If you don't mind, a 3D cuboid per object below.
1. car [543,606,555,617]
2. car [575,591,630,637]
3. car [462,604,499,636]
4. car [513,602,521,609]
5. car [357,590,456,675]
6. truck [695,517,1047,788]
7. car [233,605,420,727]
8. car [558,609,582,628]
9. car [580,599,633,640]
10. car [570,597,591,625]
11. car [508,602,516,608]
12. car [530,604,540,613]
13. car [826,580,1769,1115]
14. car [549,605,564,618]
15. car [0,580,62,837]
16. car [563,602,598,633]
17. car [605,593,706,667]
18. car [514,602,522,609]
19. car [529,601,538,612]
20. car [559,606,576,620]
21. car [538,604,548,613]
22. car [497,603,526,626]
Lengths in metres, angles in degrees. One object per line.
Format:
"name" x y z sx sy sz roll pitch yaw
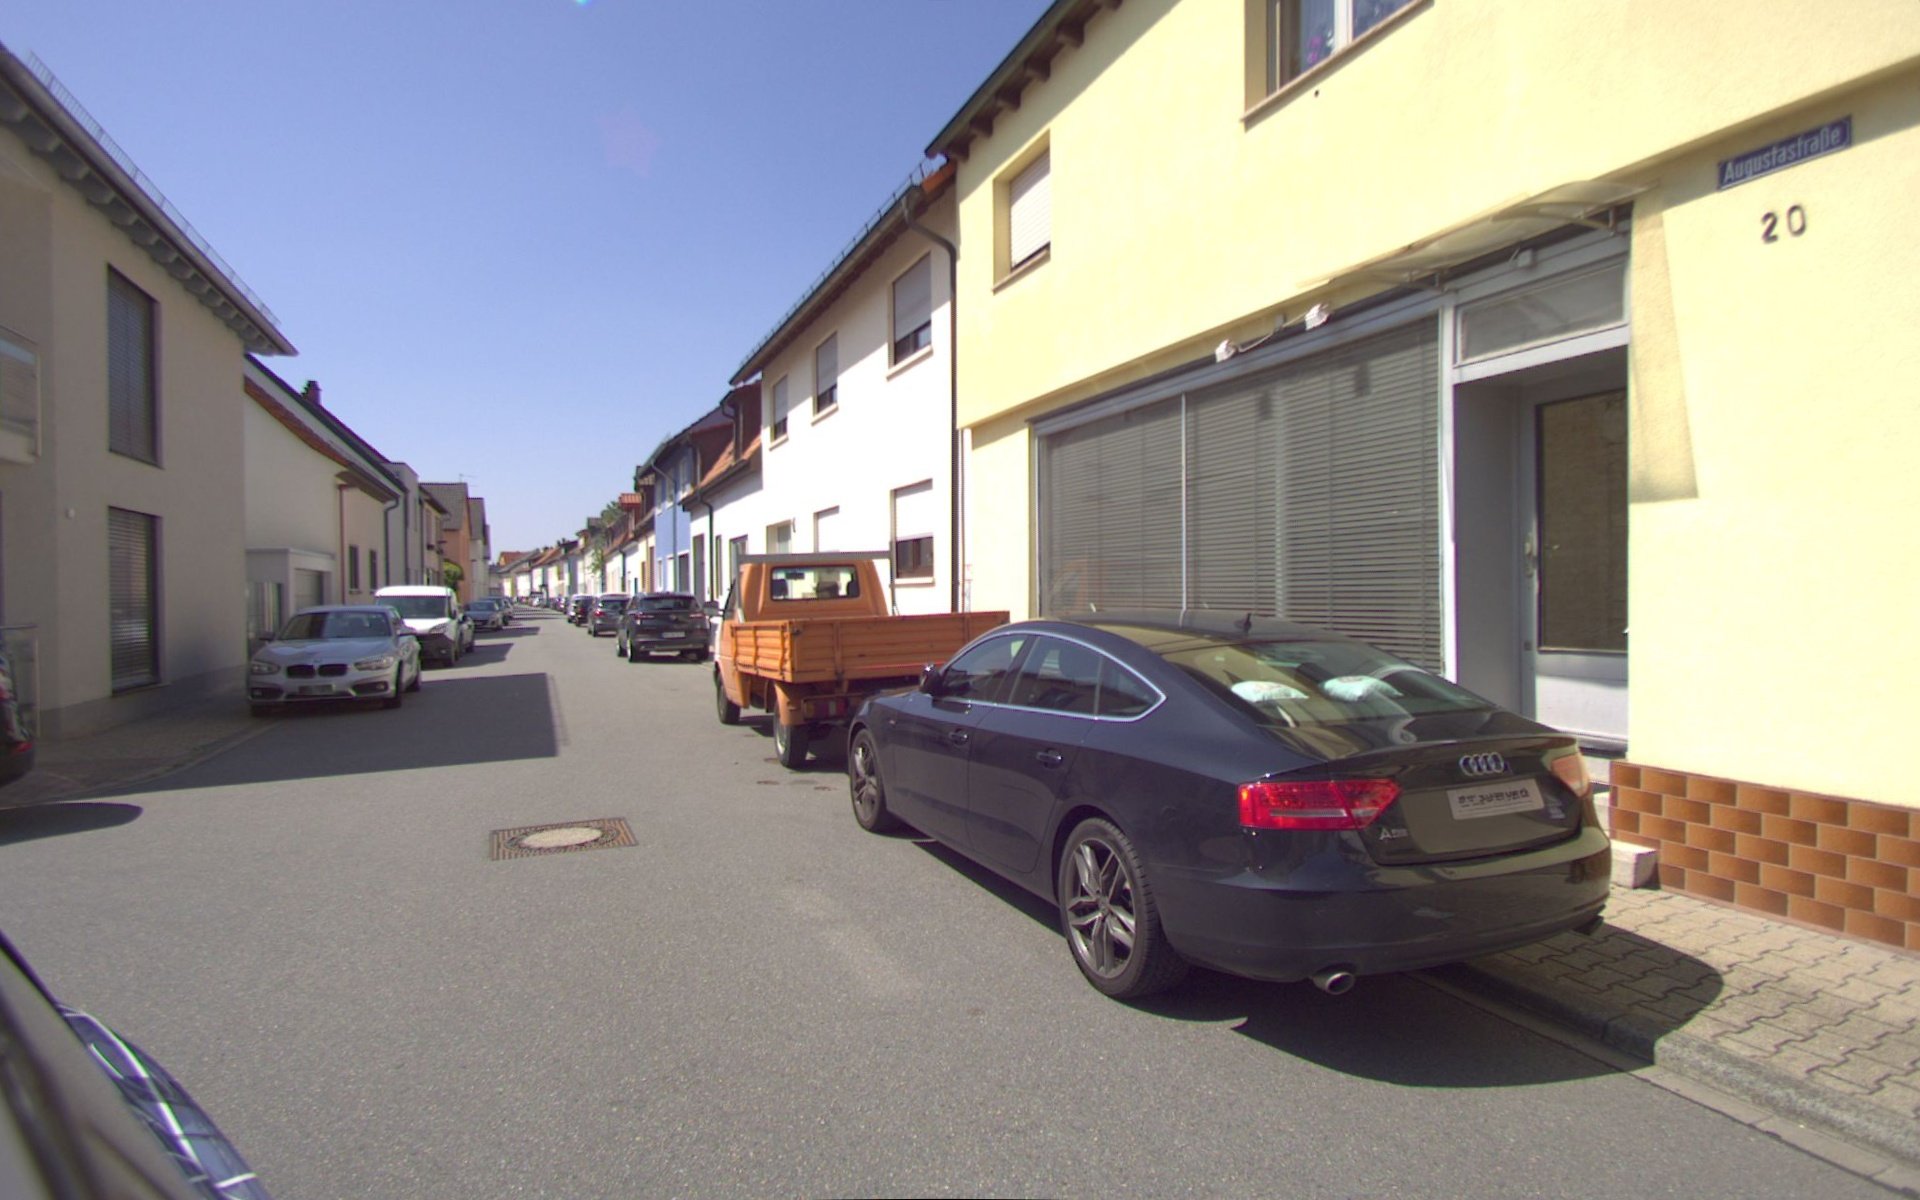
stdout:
"car" -46.172 1.331 113.697 1.274 1.193 2.973 0 0 -23
"car" -16.992 0.616 47.959 1.965 2.029 4.013 0 1 -27
"car" -22.812 0.927 48.246 1.496 1.436 3.876 0 0 -24
"car" -81.047 0.984 185.154 1.274 1.193 2.973 0 0 -23
"car" -12.447 0.672 22.934 1.656 1.742 3.799 0 0 -24
"truck" -1.245 0.373 10.341 2.151 2.029 5.097 0 0 -22
"car" -8.866 0.817 14.473 1.611 1.378 3.941 -2 1 -23
"car" -23.887 1.111 61.920 1.274 1.084 2.773 0 0 -23
"car" -14.106 0.748 40.296 1.695 1.513 4.229 0 0 -23
"car" -26.045 0.728 69.435 1.274 1.845 2.973 0 0 -23
"car" -86.405 0.982 195.246 1.274 1.193 2.973 0 0 -23
"car" -62.799 1.249 149.493 1.274 1.193 2.973 0 0 -23
"car" 0.916 0.669 5.168 1.894 1.405 4.647 2 -1 -24
"car" -39.748 1.132 99.669 1.274 1.193 2.973 0 0 -23
"car" -7.781 0.690 5.410 1.760 1.595 4.226 -2 -2 38
"car" -20.924 0.942 55.727 1.649 1.586 4.122 0 0 -23
"car" -7.374 0.663 24.291 1.818 1.626 4.013 0 0 -24
"car" -77.447 1.042 177.390 1.274 1.193 2.973 0 0 -23
"car" -66.652 1.014 158.231 1.274 1.706 2.973 0 0 -24
"car" -34.678 1.109 89.445 1.274 1.193 2.973 0 0 -23
"car" -55.420 1.153 134.487 1.274 1.193 2.973 0 0 -23
"car" -31.464 1.010 71.025 1.818 1.543 3.561 0 0 -24
